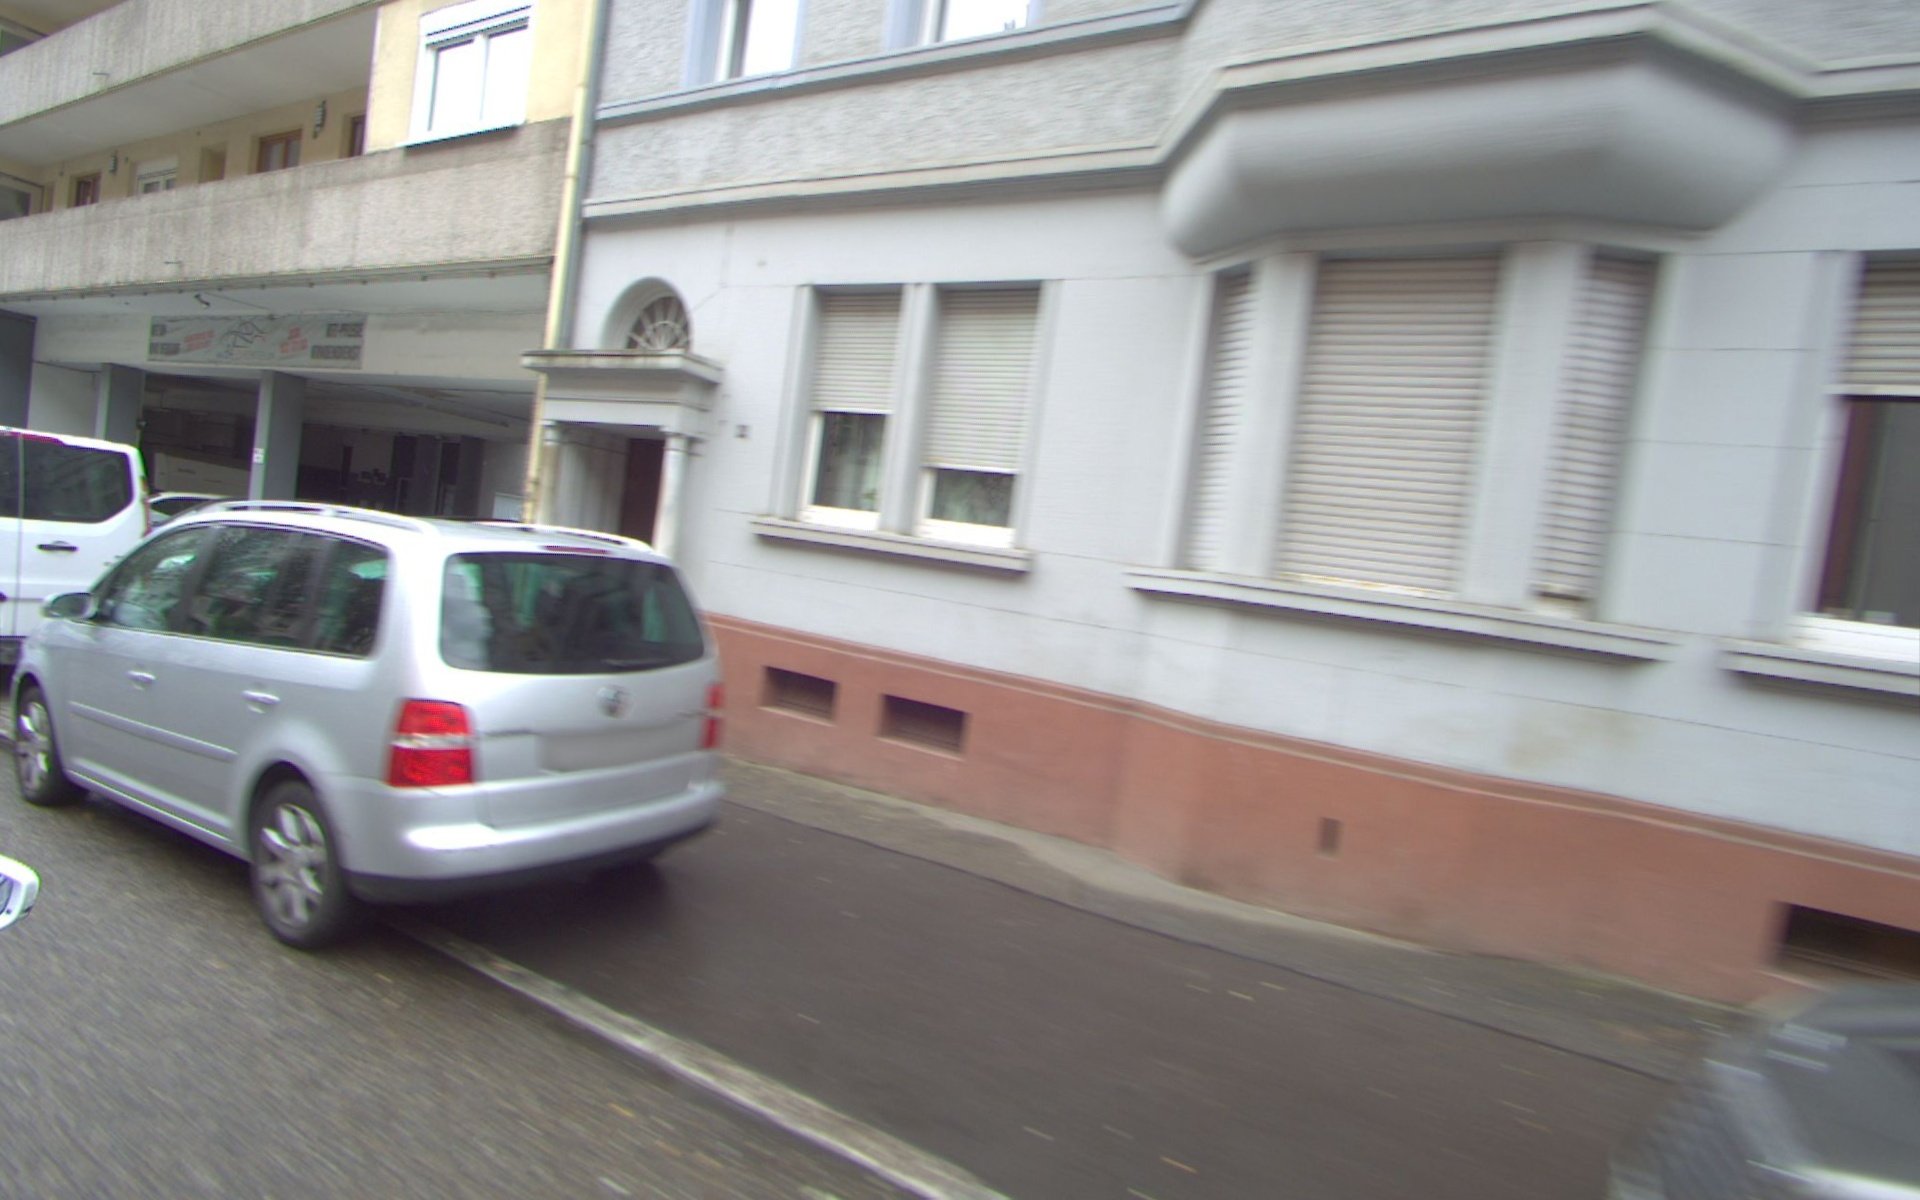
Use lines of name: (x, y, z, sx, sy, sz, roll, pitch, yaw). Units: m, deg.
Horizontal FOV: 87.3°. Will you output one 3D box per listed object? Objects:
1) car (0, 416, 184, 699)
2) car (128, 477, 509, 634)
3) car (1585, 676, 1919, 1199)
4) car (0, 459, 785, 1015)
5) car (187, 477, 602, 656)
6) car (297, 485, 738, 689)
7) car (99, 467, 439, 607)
car: (-8.775, -0.523, 8.484, 4.548, 2.033, 1.983, 7, 2, 32)
car: (-9.054, -0.561, 14.484, 1.644, 1.662, 4.276, 10, 2, 44)
car: (3.474, 1.199, 0.998, 4.720, 1.499, 1.899, 7, 3, 33)
car: (-3.110, 0.311, 5.060, 4.217, 1.693, 1.726, 7, 3, 32)
car: (-7.273, -0.353, 13.259, 1.883, 1.748, 4.314, 10, 2, 44)
car: (-5.149, -0.084, 12.006, 4.308, 1.828, 1.982, 7, 2, -41)
car: (-11.204, -0.970, 16.536, 1.644, 1.662, 4.276, 10, 2, 44)
